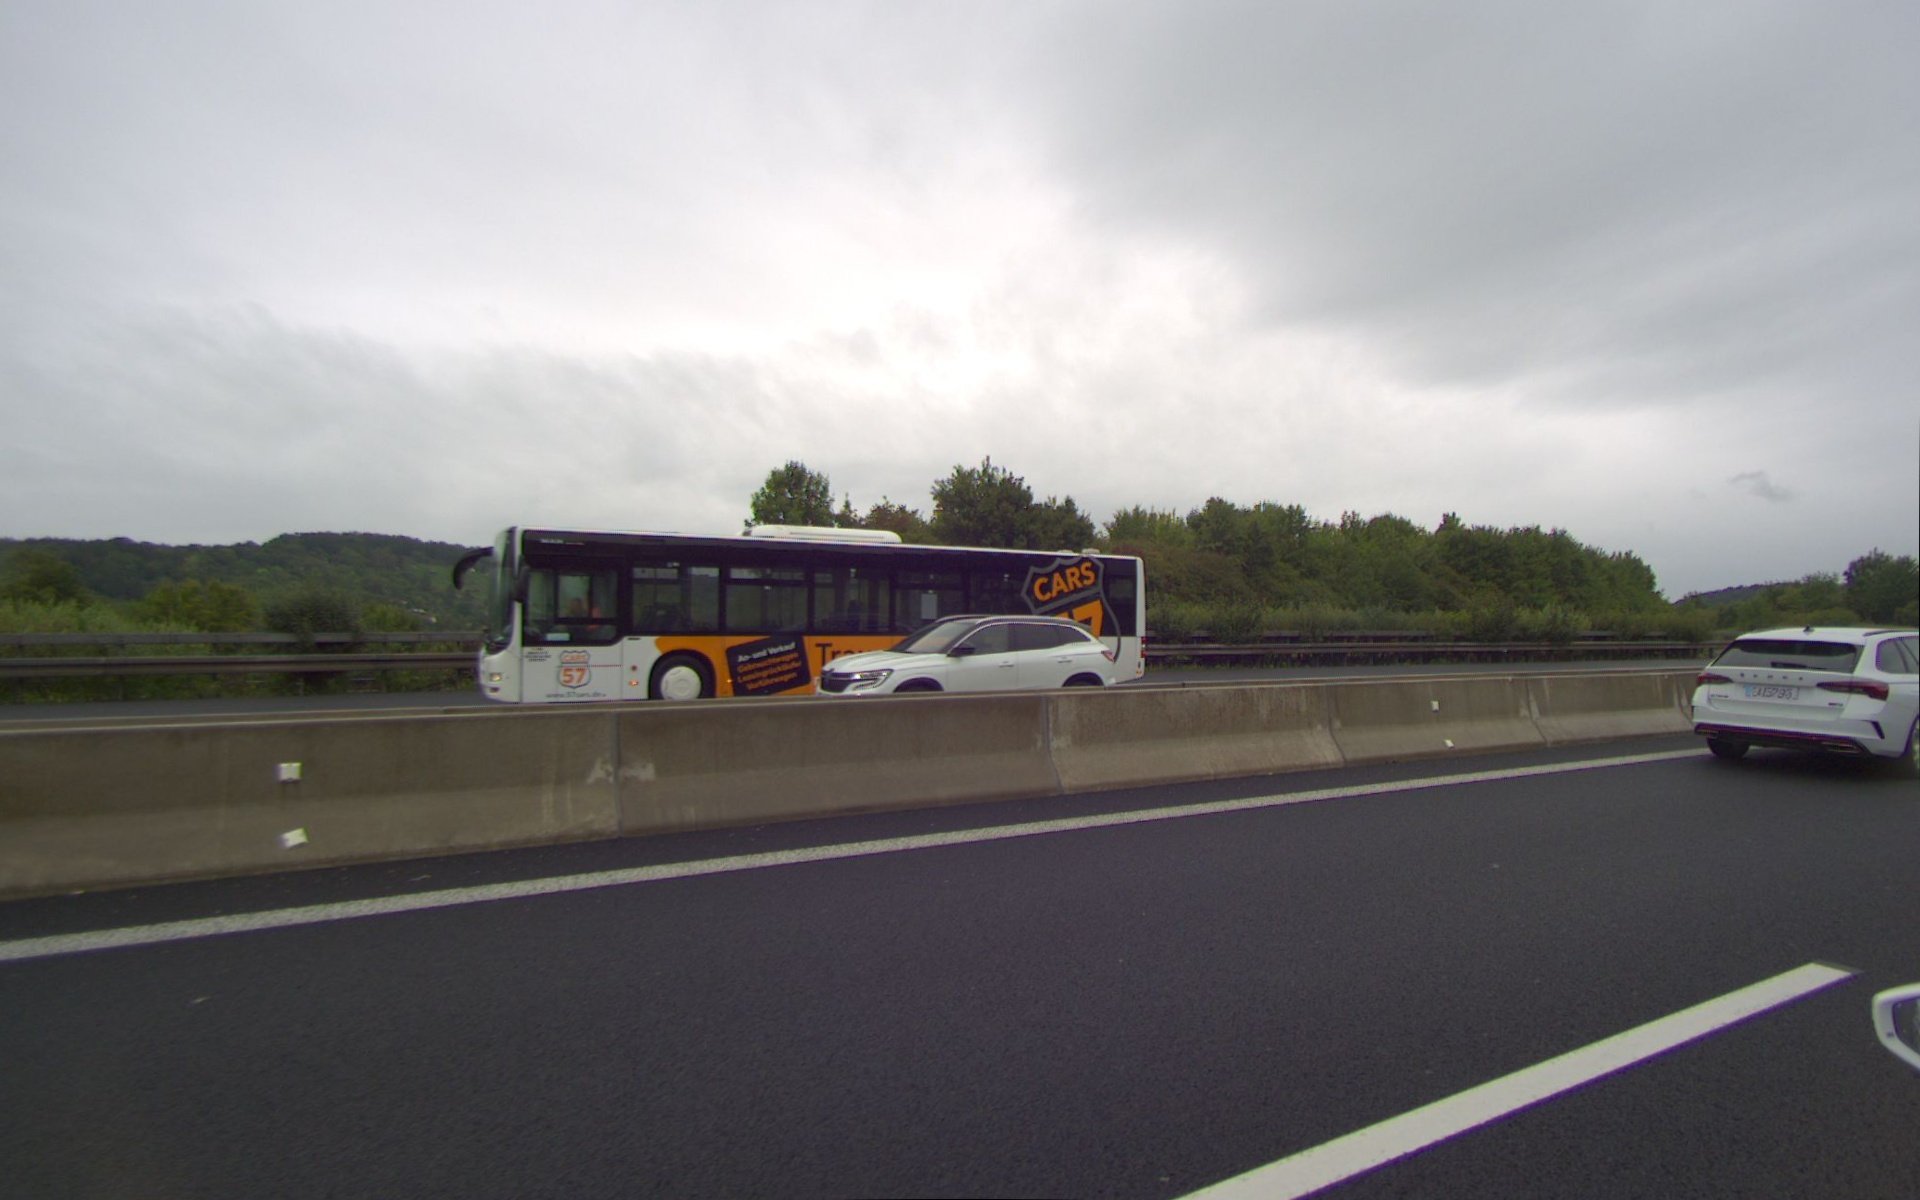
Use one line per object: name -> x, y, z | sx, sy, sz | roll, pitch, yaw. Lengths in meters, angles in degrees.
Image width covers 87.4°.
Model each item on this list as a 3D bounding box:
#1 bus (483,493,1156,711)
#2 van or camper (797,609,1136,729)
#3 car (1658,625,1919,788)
bus -> -1.888, 0.194, 17.918 | 11.759, 2.997, 2.685 | 2, -2, -31
van or camper -> 0.158, 0.910, 14.144 | 4.532, 1.466, 1.740 | 2, -2, -30
car -> 9.941, 1.047, 11.135 | 4.721, 1.475, 1.810 | 2, -2, -30
